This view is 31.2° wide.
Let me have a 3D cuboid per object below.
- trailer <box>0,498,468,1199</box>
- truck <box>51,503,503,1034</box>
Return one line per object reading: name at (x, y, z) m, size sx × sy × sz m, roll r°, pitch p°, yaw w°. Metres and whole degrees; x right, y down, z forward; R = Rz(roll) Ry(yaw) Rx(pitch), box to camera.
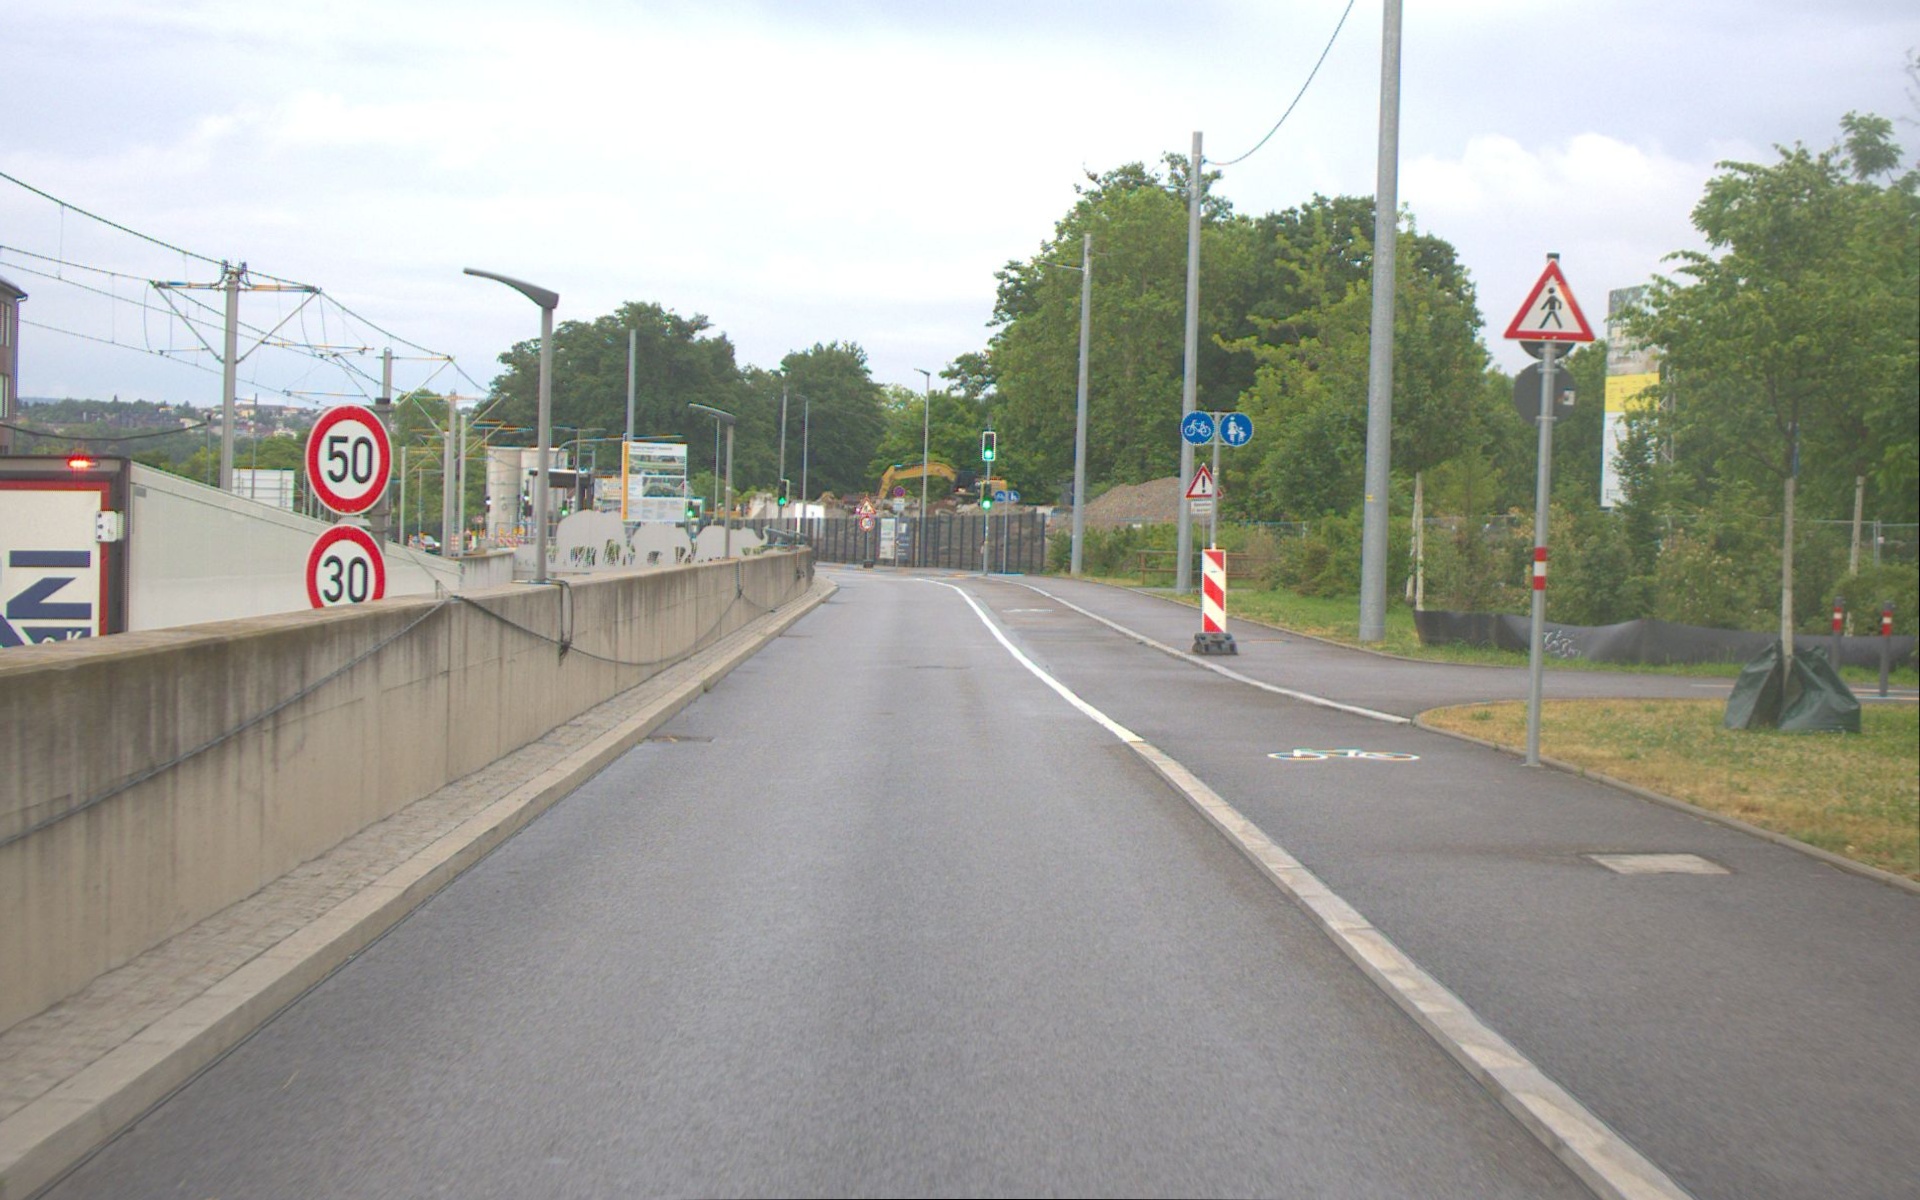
trailer at (-5.766, 1.450, 24.250) m, size 2.762 × 4.238 × 13.184 m, roll 0°, pitch 1°, yaw 0°
truck at (-5.801, 1.261, 30.234) m, size 2.756 × 4.190 × 6.307 m, roll 0°, pitch 1°, yaw 0°
